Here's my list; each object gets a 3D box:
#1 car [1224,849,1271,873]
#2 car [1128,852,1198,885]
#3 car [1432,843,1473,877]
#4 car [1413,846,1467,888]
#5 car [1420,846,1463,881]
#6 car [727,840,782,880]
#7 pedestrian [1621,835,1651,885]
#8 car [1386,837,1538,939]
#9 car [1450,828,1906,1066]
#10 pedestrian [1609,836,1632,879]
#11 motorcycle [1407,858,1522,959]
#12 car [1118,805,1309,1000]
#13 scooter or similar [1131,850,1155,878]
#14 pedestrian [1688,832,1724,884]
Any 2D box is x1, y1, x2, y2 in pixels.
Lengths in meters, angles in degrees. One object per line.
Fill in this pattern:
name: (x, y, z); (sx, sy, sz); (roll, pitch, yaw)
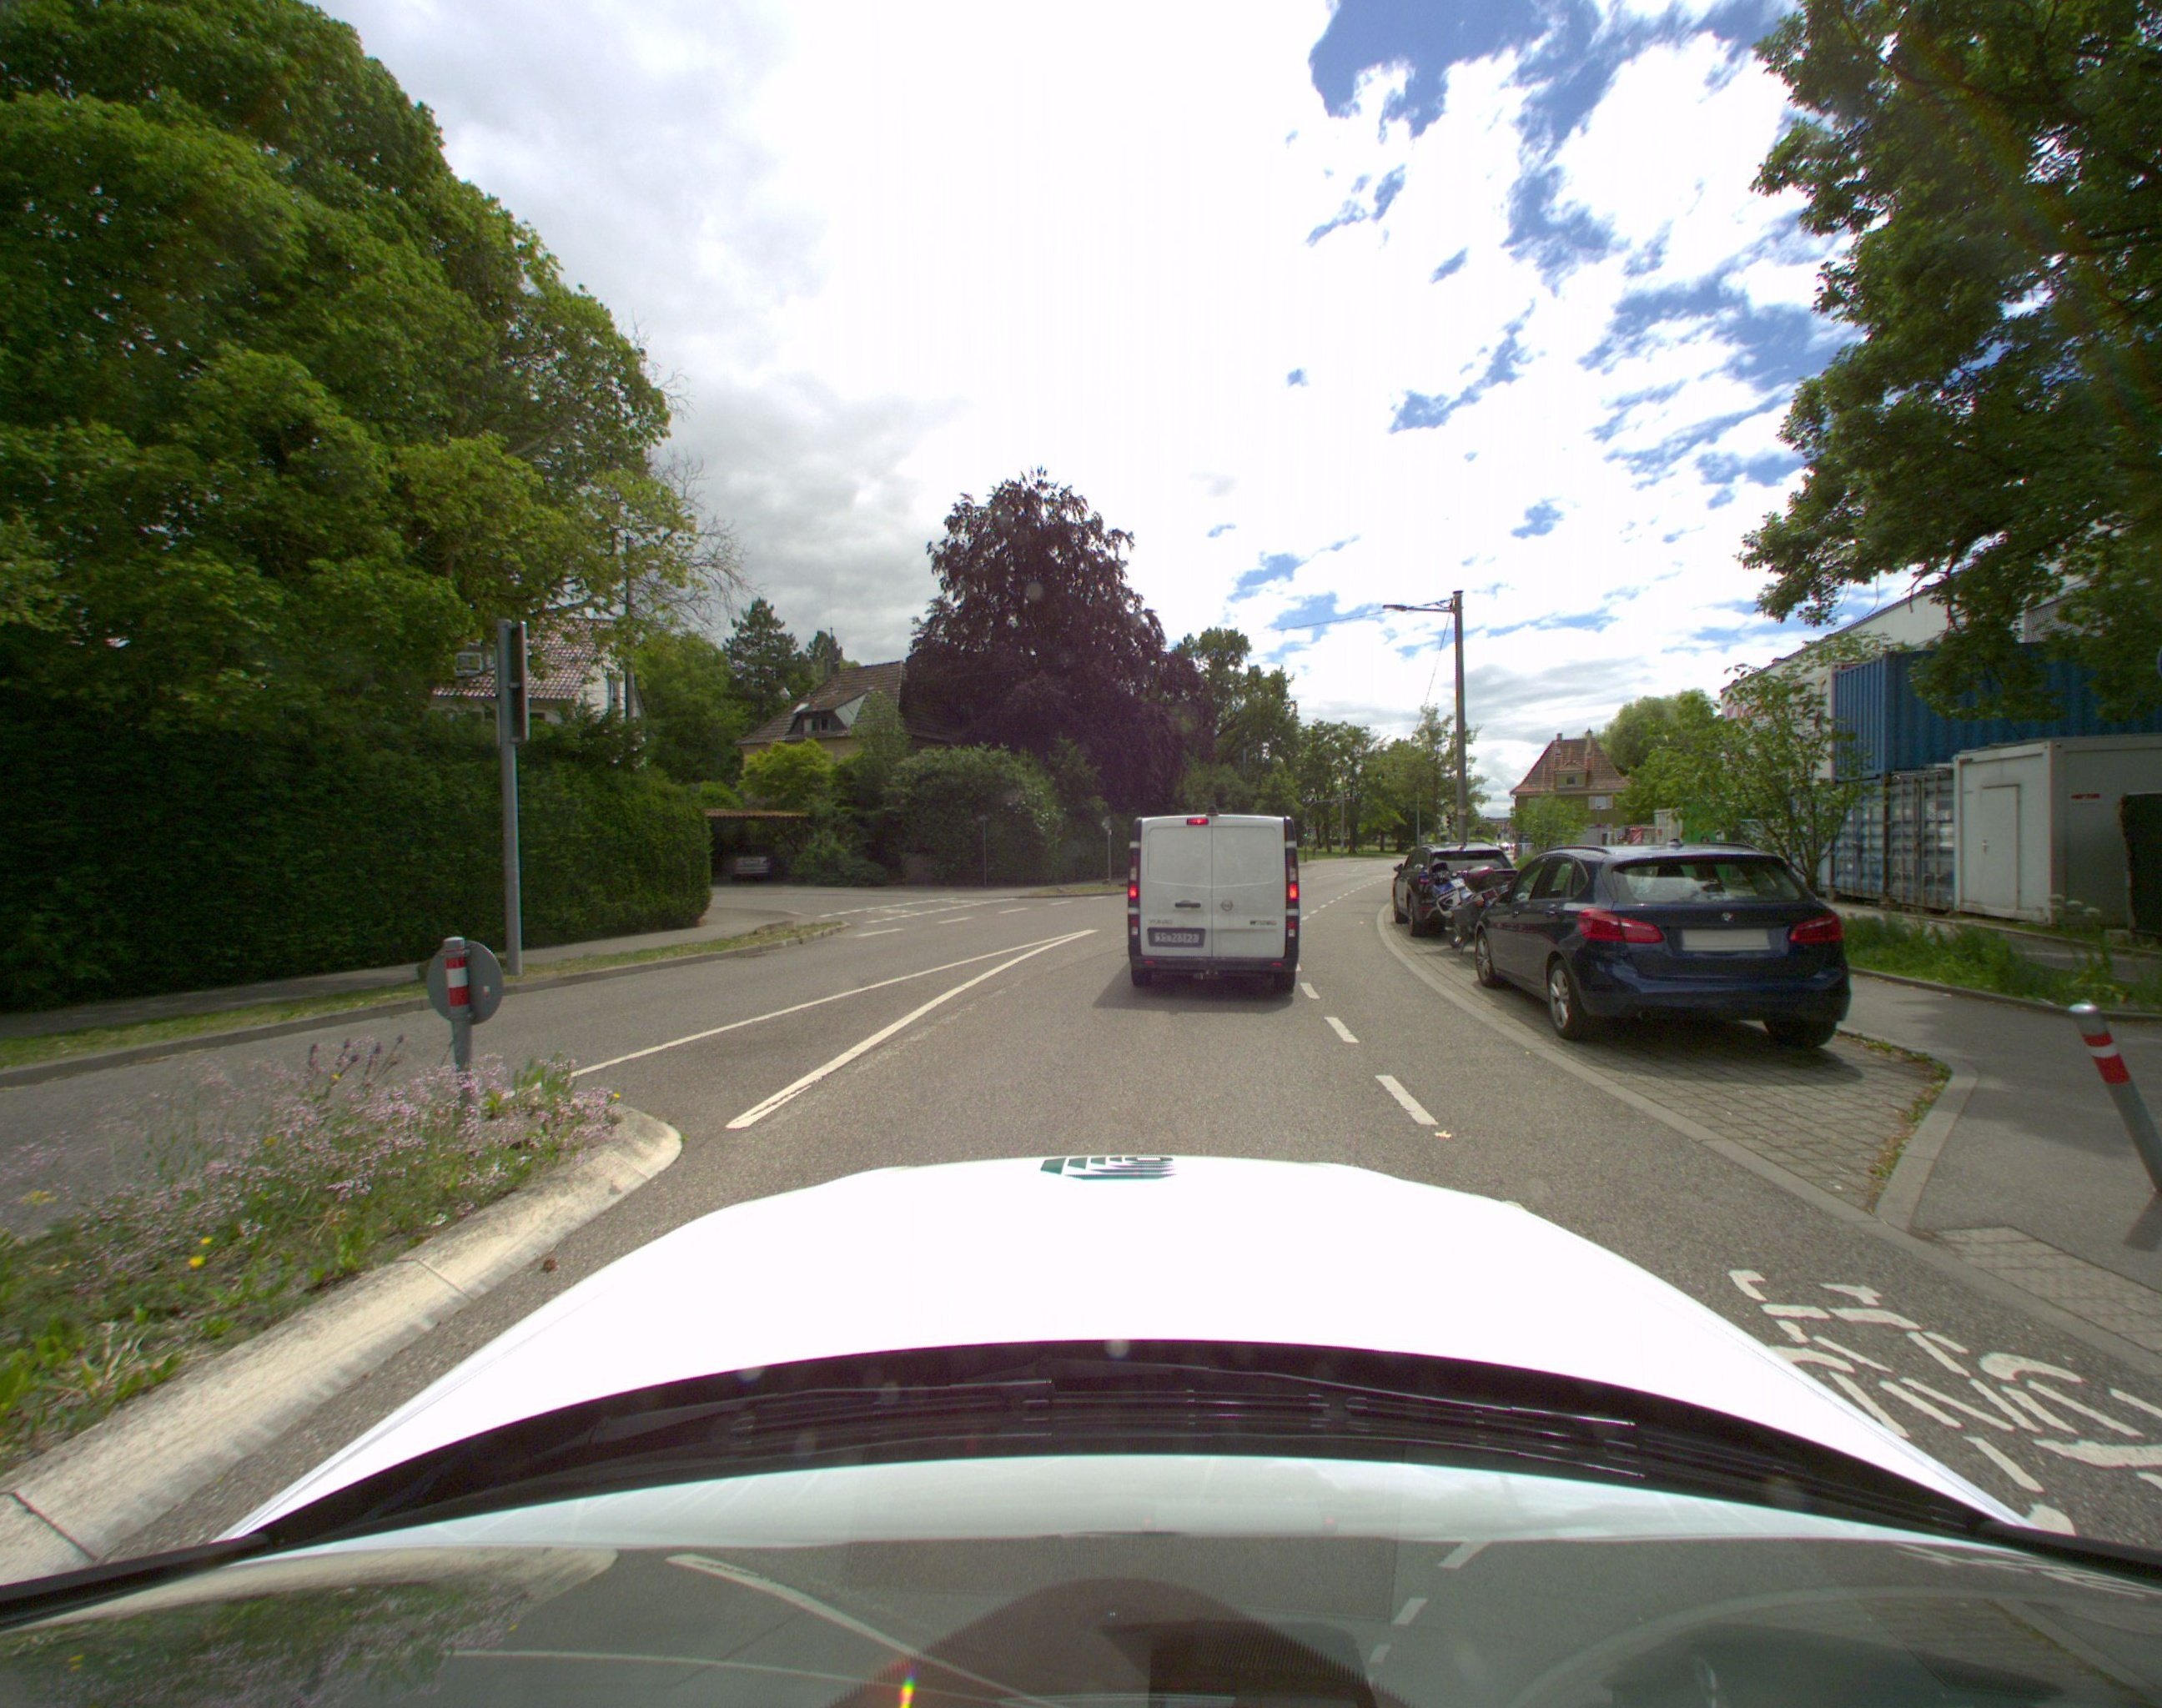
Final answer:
car: (10.257, 0.381, 49.818); (1.679, 1.365, 4.714); (1, 1, 26)
car: (3.772, 0.600, 36.773); (1.645, 1.378, 4.593); (1, 1, 26)
car: (19.283, 0.280, 42.215); (1.721, 1.616, 4.412); (-3, -1, 26)
car: (14.400, 0.465, 32.677); (1.749, 1.477, 4.963); (-3, -1, 24)
car: (16.528, 0.399, 37.265); (1.554, 1.493, 4.024); (-2, 0, 26)
car: (-13.218, 0.201, 33.173); (1.727, 1.509, 3.978); (0, 1, -17)
pedestrian: (18.924, 0.207, 27.781); (0.645, 1.696, 0.728); (0, 0, 16)
car: (7.075, 0.561, 15.643); (1.864, 1.621, 4.867); (-2, 0, 16)
car: (5.025, 0.637, 7.767); (1.903, 1.578, 4.446); (-2, 0, 13)
pedestrian: (21.755, 0.151, 32.851); (0.646, 1.697, 0.849); (0, 0, 23)
motorcycle: (5.617, 0.745, 12.113); (1.063, 1.305, 2.269); (-3, 0, 14)
car: (1.880, 0.470, 10.749); (1.925, 1.960, 4.850); (1, 0, 13)
scooter or similar: (3.250, 0.487, 42.542); (0.664, 1.412, 1.659); (1, 1, 27)
pedestrian: (19.907, 0.135, 25.937); (0.736, 1.618, 0.772); (0, 0, 23)
